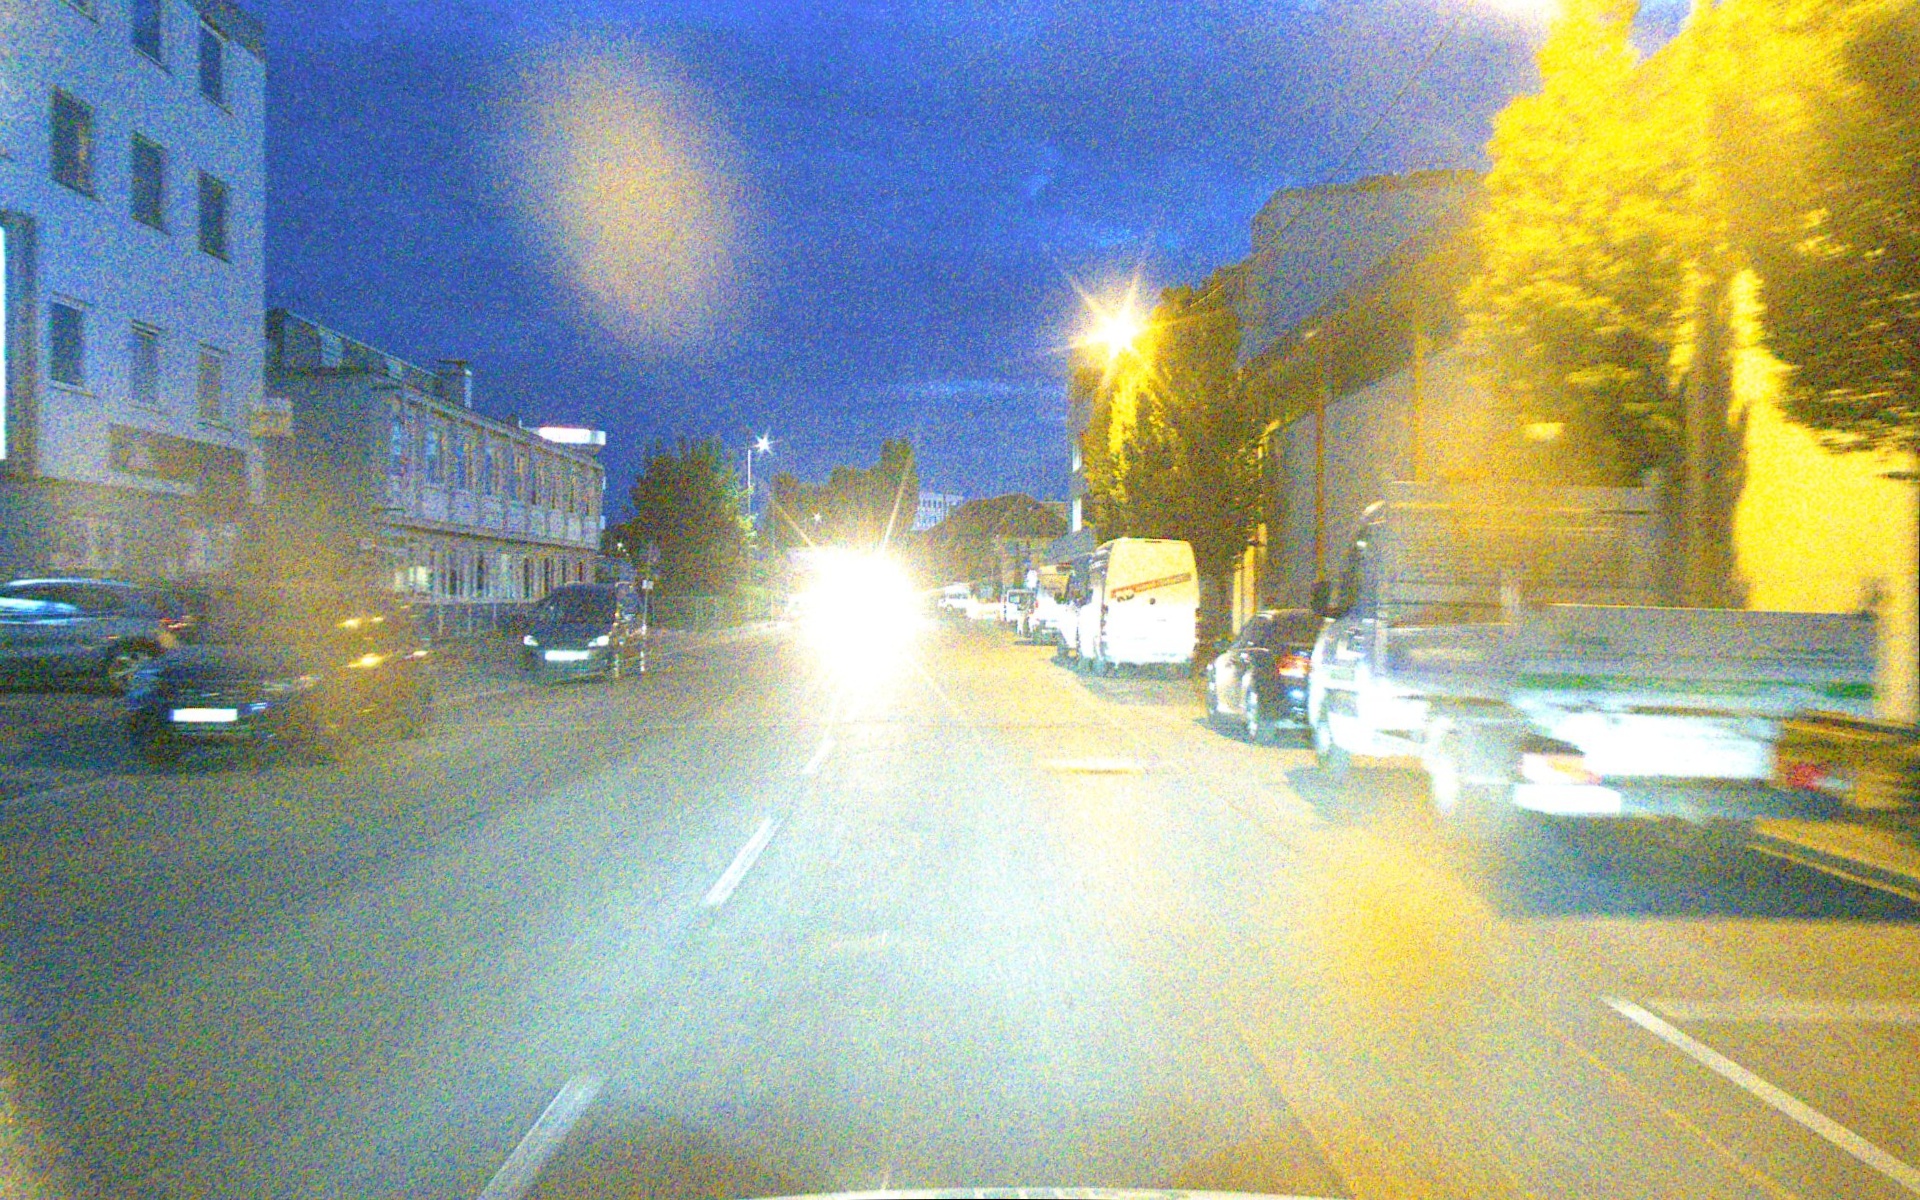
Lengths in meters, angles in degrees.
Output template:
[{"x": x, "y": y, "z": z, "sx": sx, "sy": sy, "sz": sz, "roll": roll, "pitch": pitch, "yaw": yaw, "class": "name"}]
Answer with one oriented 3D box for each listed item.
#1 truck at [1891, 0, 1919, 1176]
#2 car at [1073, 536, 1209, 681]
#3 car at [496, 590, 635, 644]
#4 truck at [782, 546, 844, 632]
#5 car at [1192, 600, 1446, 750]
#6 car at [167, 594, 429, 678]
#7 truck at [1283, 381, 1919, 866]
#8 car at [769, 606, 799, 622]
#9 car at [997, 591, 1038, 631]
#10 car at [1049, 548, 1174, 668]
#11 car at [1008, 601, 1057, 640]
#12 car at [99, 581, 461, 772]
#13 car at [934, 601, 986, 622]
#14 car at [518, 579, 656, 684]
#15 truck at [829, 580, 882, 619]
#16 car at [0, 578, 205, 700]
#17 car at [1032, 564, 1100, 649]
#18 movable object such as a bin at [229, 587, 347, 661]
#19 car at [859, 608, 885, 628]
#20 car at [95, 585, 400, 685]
[{"x": 4.058, "y": -0.311, "z": 2.140, "sx": 2.709, "sy": 3.829, "sz": 5.227, "roll": 1, "pitch": -1, "yaw": 0, "class": "truck"}, {"x": 3.582, "y": 0.154, "z": 33.862, "sx": 1.953, "sy": 2.616, "sz": 6.013, "roll": 3, "pitch": 0, "yaw": -1, "class": "car"}, {"x": -13.201, "y": 0.551, "z": 55.356, "sx": 4.043, "sy": 1.457, "sz": 1.897, "roll": 4, "pitch": 1, "yaw": 17, "class": "car"}, {"x": -7.403, "y": -0.520, "z": 84.213, "sx": 2.691, "sy": 4.105, "sz": 9.555, "roll": 0, "pitch": 0, "yaw": -3, "class": "truck"}, {"x": 4.005, "y": 0.765, "z": 19.313, "sx": 1.792, "sy": 1.432, "sz": 4.907, "roll": 3, "pitch": 0, "yaw": -1, "class": "car"}, {"x": -12.304, "y": 0.631, "z": 30.811, "sx": 4.353, "sy": 1.465, "sz": 1.776, "roll": 0, "pitch": 0, "yaw": -30, "class": "car"}, {"x": 4.222, "y": 0.128, "z": 12.325, "sx": 2.352, "sy": 2.639, "sz": 6.597, "roll": 0, "pitch": 0, "yaw": 0, "class": "truck"}, {"x": -15.544, "y": 1.212, "z": 145.753, "sx": 1.786, "sy": 1.395, "sz": 4.338, "roll": 0, "pitch": 0, "yaw": -18, "class": "car"}, {"x": 2.985, "y": 0.573, "z": 86.759, "sx": 1.953, "sy": 2.049, "sz": 4.911, "roll": -1, "pitch": 0, "yaw": -1, "class": "car"}, {"x": 3.614, "y": 0.180, "z": 40.604, "sx": 2.086, "sy": 2.616, "sz": 5.905, "roll": 3, "pitch": 0, "yaw": -3, "class": "car"}, {"x": 2.915, "y": 0.791, "z": 67.360, "sx": 1.906, "sy": 1.515, "sz": 5.011, "roll": 0, "pitch": 0, "yaw": 2, "class": "car"}, {"x": -6.841, "y": 0.682, "z": 17.301, "sx": 1.908, "sy": 1.718, "sz": 4.814, "roll": 0, "pitch": 0, "yaw": -2, "class": "car"}, {"x": -0.030, "y": 1.054, "z": 149.177, "sx": 4.267, "sy": 1.675, "sz": 1.879, "roll": -3, "pitch": 1, "yaw": -23, "class": "car"}, {"x": -7.111, "y": 0.578, "z": 31.936, "sx": 1.777, "sy": 1.881, "sz": 4.413, "roll": 0, "pitch": 0, "yaw": -2, "class": "car"}, {"x": -10.522, "y": -0.046, "z": 165.654, "sx": 2.716, "sy": 3.849, "sz": 9.078, "roll": 0, "pitch": 0, "yaw": -21, "class": "truck"}, {"x": -12.684, "y": 0.511, "z": 22.546, "sx": 4.345, "sy": 1.587, "sz": 1.984, "roll": 0, "pitch": 0, "yaw": -25, "class": "car"}, {"x": 3.445, "y": 0.219, "z": 54.665, "sx": 1.952, "sy": 2.570, "sz": 5.910, "roll": 3, "pitch": 0, "yaw": 2, "class": "car"}, {"x": -14.220, "y": 0.502, "z": 35.069, "sx": 1.819, "sy": 1.526, "sz": 1.609, "roll": 0, "pitch": 0, "yaw": 0, "class": "movable object such as a bin"}, {"x": -6.402, "y": 1.276, "z": 120.684, "sx": 1.820, "sy": 1.445, "sz": 3.999, "roll": 0, "pitch": 0, "yaw": -2, "class": "car"}, {"x": -12.109, "y": 0.563, "z": 28.159, "sx": 4.607, "sy": 1.578, "sz": 1.980, "roll": 0, "pitch": 0, "yaw": -30, "class": "car"}]
